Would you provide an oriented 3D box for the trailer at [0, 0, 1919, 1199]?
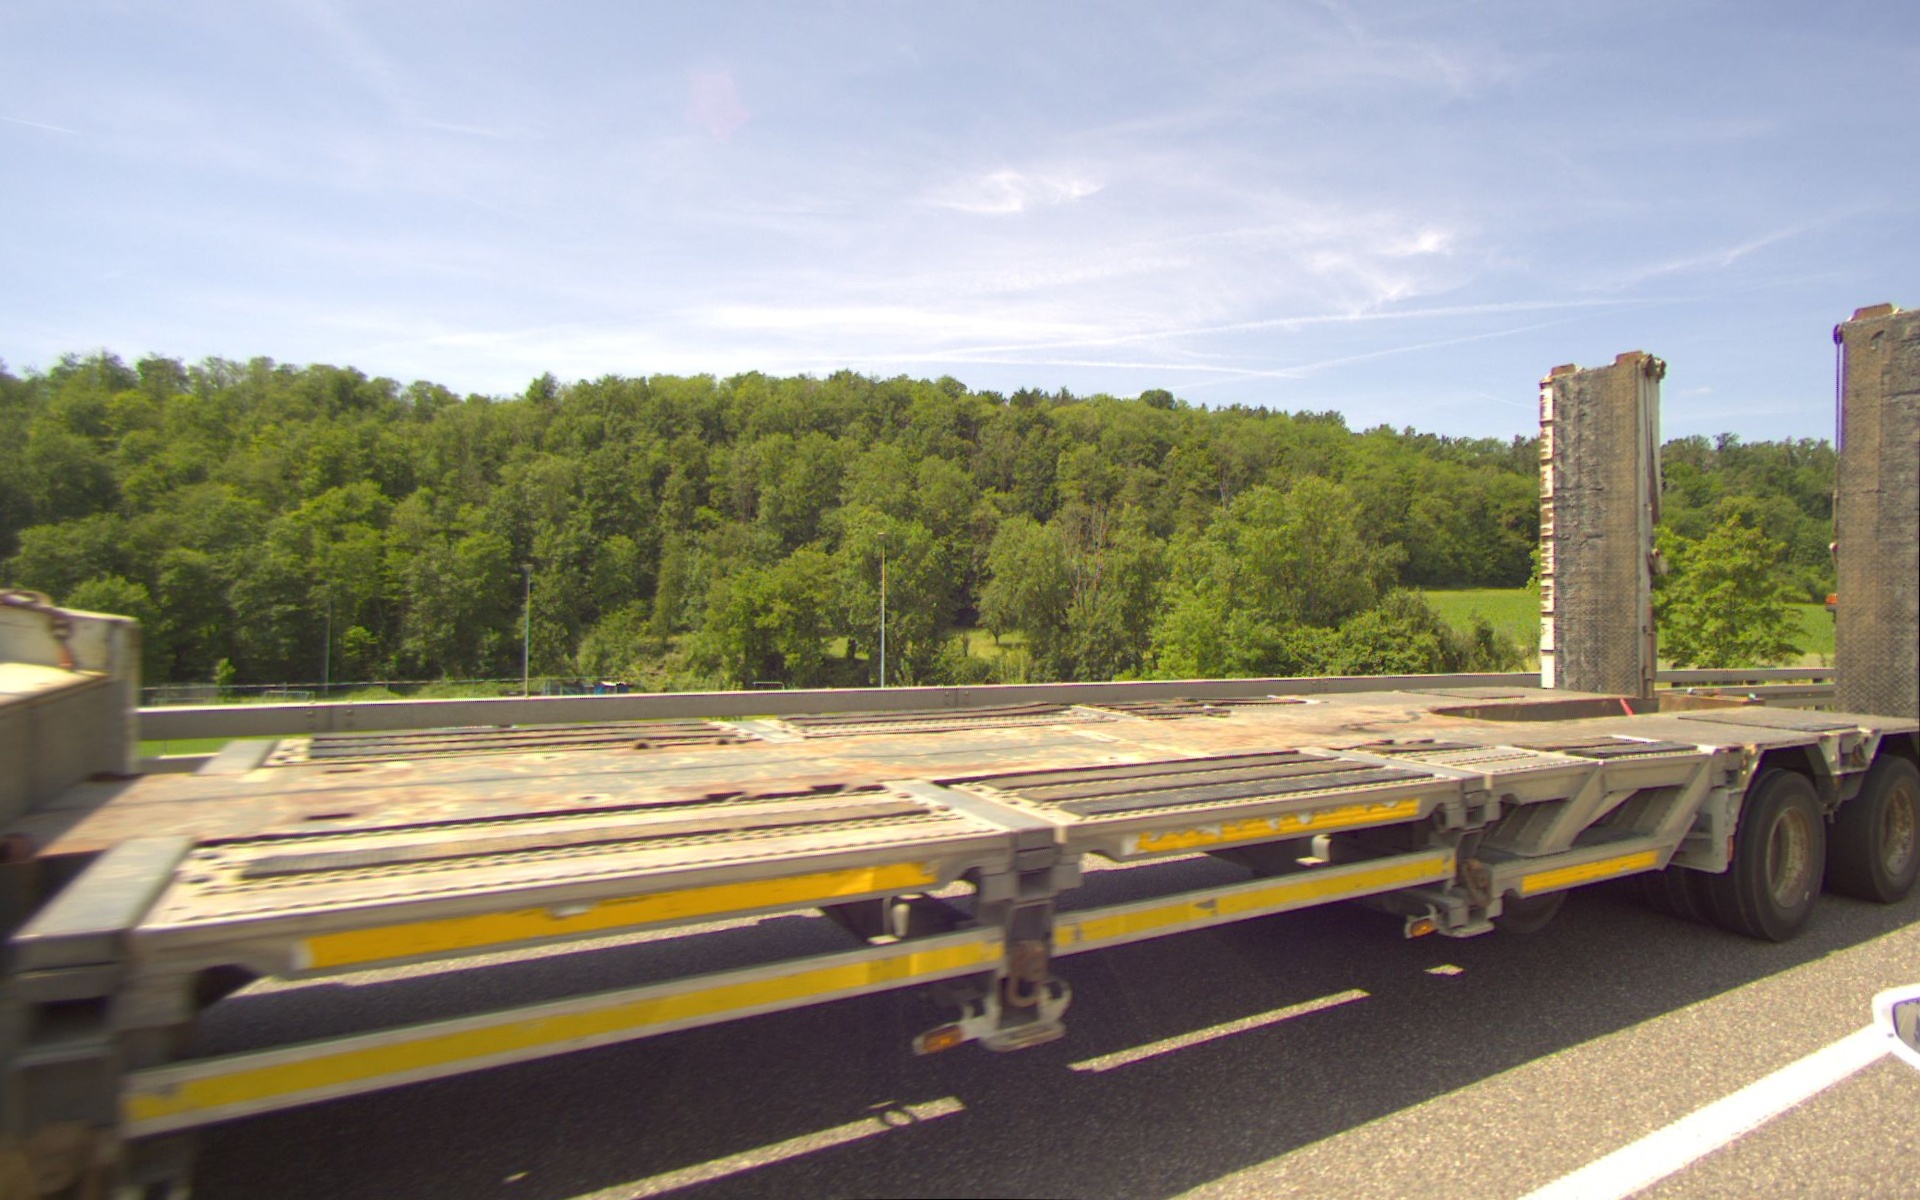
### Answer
[{"bbox_3d":[-0.321,-0.557,3.784,15.177,4.032,3.103,2,-1,-31],"label":"trailer"}]
